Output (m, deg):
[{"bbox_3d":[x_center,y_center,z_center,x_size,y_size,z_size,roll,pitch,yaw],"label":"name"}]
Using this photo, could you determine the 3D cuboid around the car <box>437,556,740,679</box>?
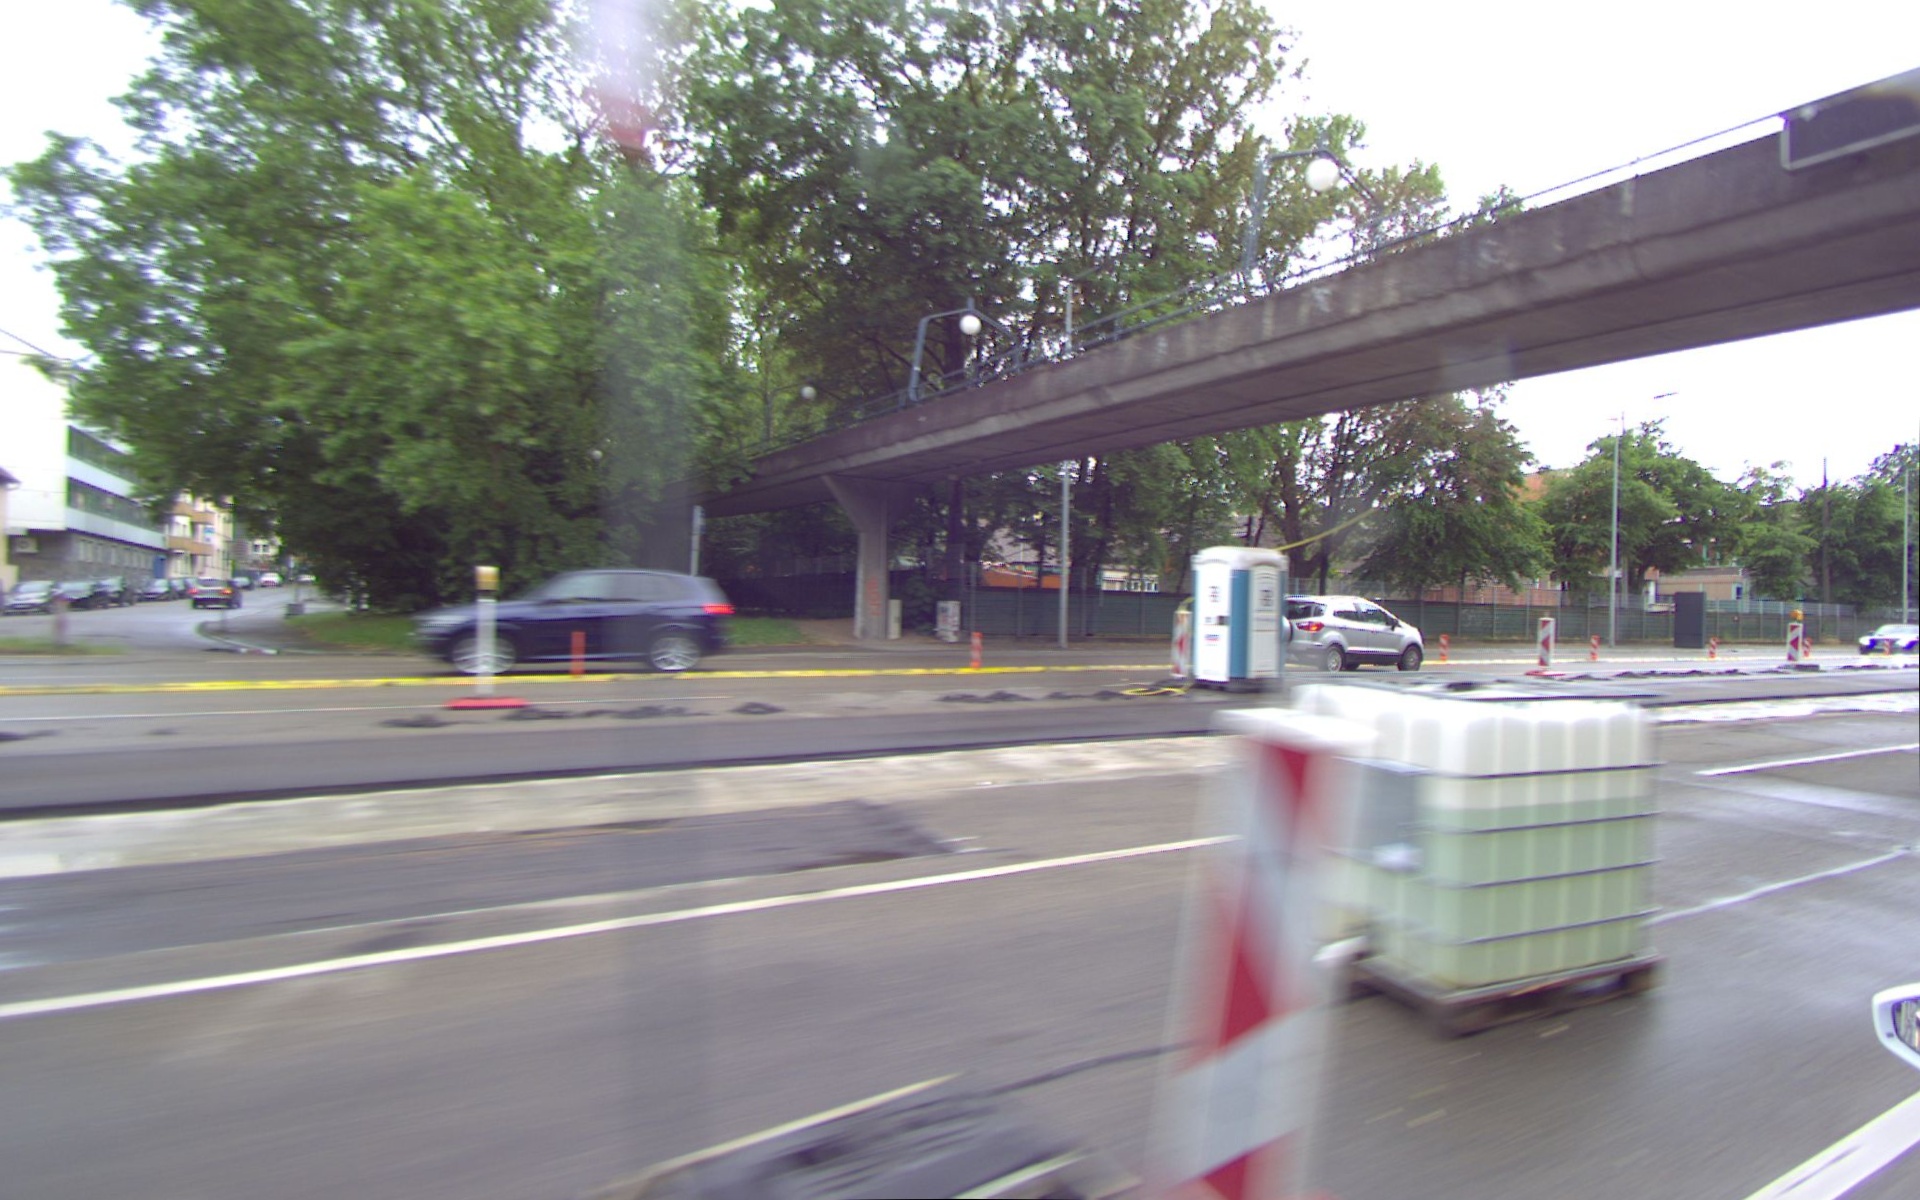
[{"bbox_3d":[-6.241,0.318,16.965,4.552,1.830,1.962,1,-1,-29],"label":"car"}]

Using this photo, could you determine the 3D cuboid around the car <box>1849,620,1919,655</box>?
[{"bbox_3d":[41.393,1.641,44.424,3.952,1.461,1.962,1,-1,-29],"label":"car"}]

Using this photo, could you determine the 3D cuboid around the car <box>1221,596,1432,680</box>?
[{"bbox_3d":[7.802,0.762,21.300,4.313,1.585,1.879,1,1,-31],"label":"car"}]
